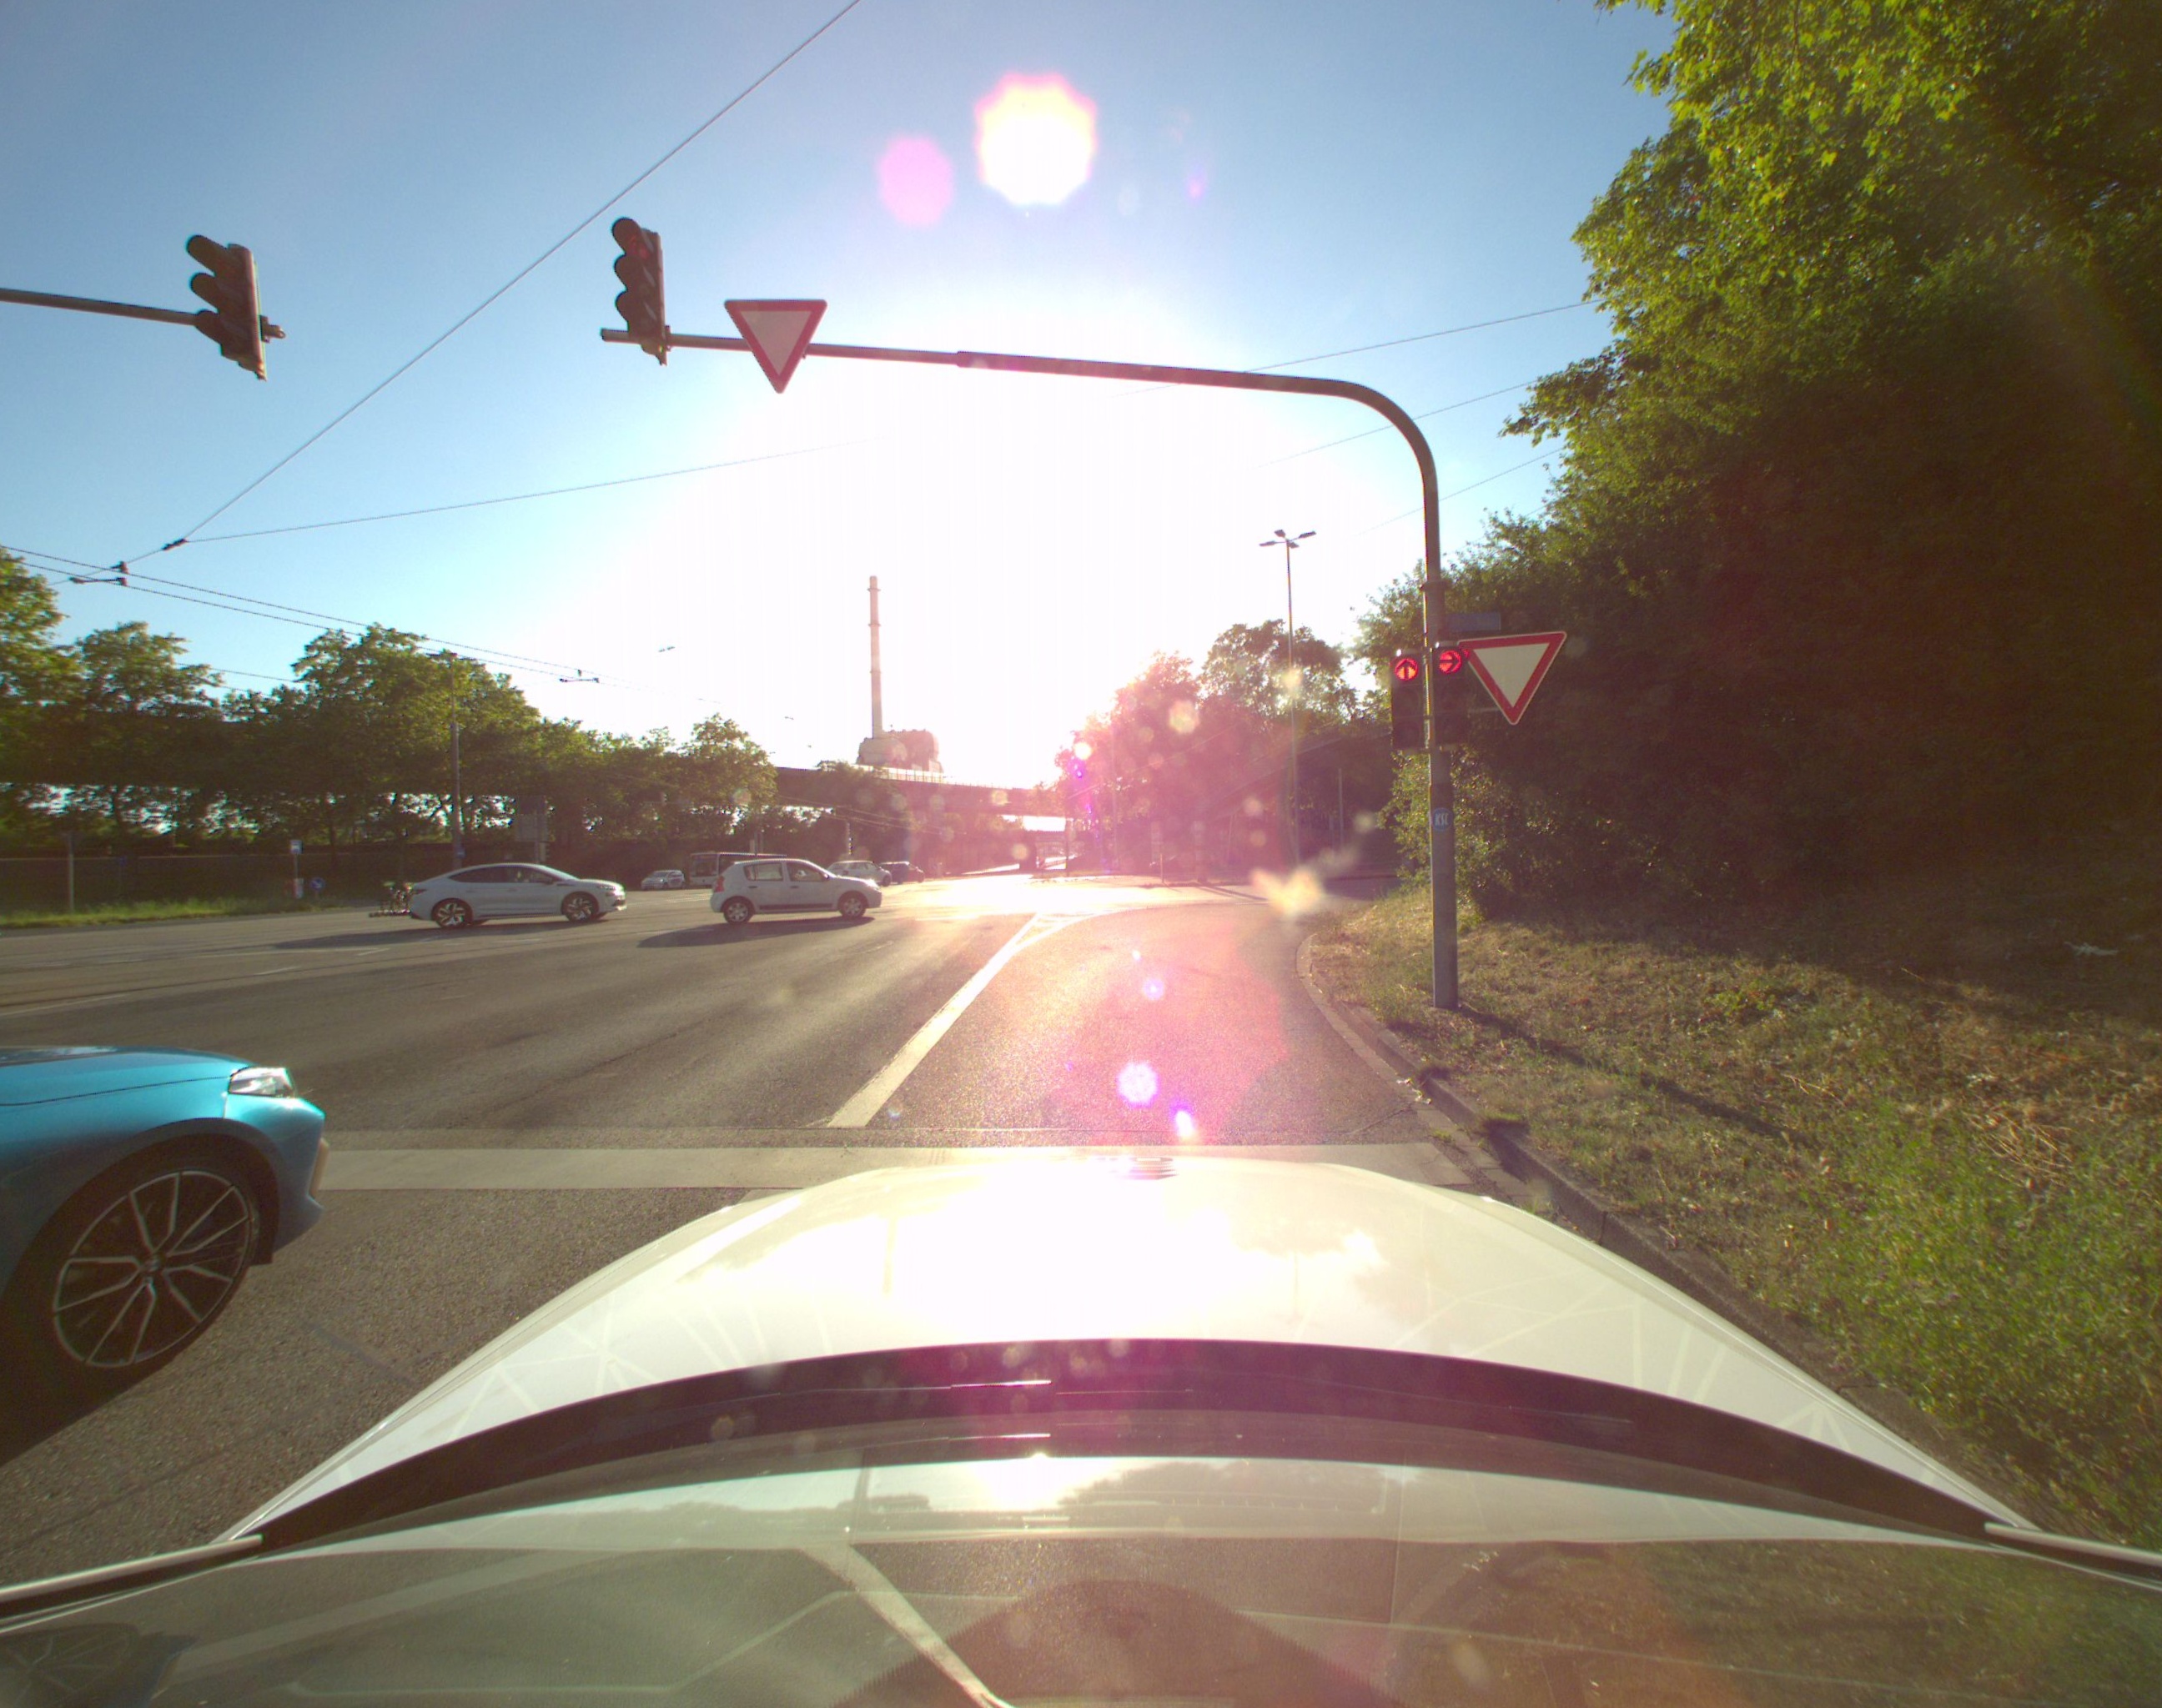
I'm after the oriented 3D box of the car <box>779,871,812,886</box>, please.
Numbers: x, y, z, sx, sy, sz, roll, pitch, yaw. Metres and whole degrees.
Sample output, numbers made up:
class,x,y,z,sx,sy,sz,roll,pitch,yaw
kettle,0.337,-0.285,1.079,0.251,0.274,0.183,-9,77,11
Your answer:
class,x,y,z,sx,sy,sz,roll,pitch,yaw
car,-28.566,2.442,81.616,1.600,1.419,4.012,-1,0,3

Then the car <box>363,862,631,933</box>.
class,x,y,z,sx,sy,sz,roll,pitch,yaw
car,-14.921,1.062,21.215,5.367,1.575,1.729,-1,0,-20

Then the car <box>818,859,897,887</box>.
class,x,y,z,sx,sy,sz,roll,pitch,yaw
car,-11.962,1.010,43.838,1.649,1.405,4.222,-1,0,28

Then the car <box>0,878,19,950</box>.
class,x,y,z,sx,sy,sz,roll,pitch,yaw
car,-25.595,1.348,16.730,4.257,1.575,1.679,-1,0,-26

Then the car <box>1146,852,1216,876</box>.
class,x,y,z,sx,sy,sz,roll,pitch,yaw
car,7.012,0.661,57.066,4.585,1.575,1.685,-1,0,-16

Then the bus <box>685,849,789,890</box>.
class,x,y,z,sx,sy,sz,roll,pitch,yaw
bus,-29.428,1.394,70.621,2.532,3.130,12.931,-2,-2,4

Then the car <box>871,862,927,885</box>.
class,x,y,z,sx,sy,sz,roll,pitch,yaw
car,-12.122,1.272,54.537,1.652,1.405,4.465,-1,0,18

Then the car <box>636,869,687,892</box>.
class,x,y,z,sx,sy,sz,roll,pitch,yaw
car,-30.133,1.903,58.617,1.601,1.512,4.007,-1,0,0

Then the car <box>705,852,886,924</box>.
class,x,y,z,sx,sy,sz,roll,pitch,yaw
car,-6.926,0.783,19.972,4.001,1.575,1.682,-1,0,-20

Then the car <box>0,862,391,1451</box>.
class,x,y,z,sx,sy,sz,roll,pitch,yaw
car,-3.566,0.792,1.093,1.709,1.466,4.205,-2,0,-1
